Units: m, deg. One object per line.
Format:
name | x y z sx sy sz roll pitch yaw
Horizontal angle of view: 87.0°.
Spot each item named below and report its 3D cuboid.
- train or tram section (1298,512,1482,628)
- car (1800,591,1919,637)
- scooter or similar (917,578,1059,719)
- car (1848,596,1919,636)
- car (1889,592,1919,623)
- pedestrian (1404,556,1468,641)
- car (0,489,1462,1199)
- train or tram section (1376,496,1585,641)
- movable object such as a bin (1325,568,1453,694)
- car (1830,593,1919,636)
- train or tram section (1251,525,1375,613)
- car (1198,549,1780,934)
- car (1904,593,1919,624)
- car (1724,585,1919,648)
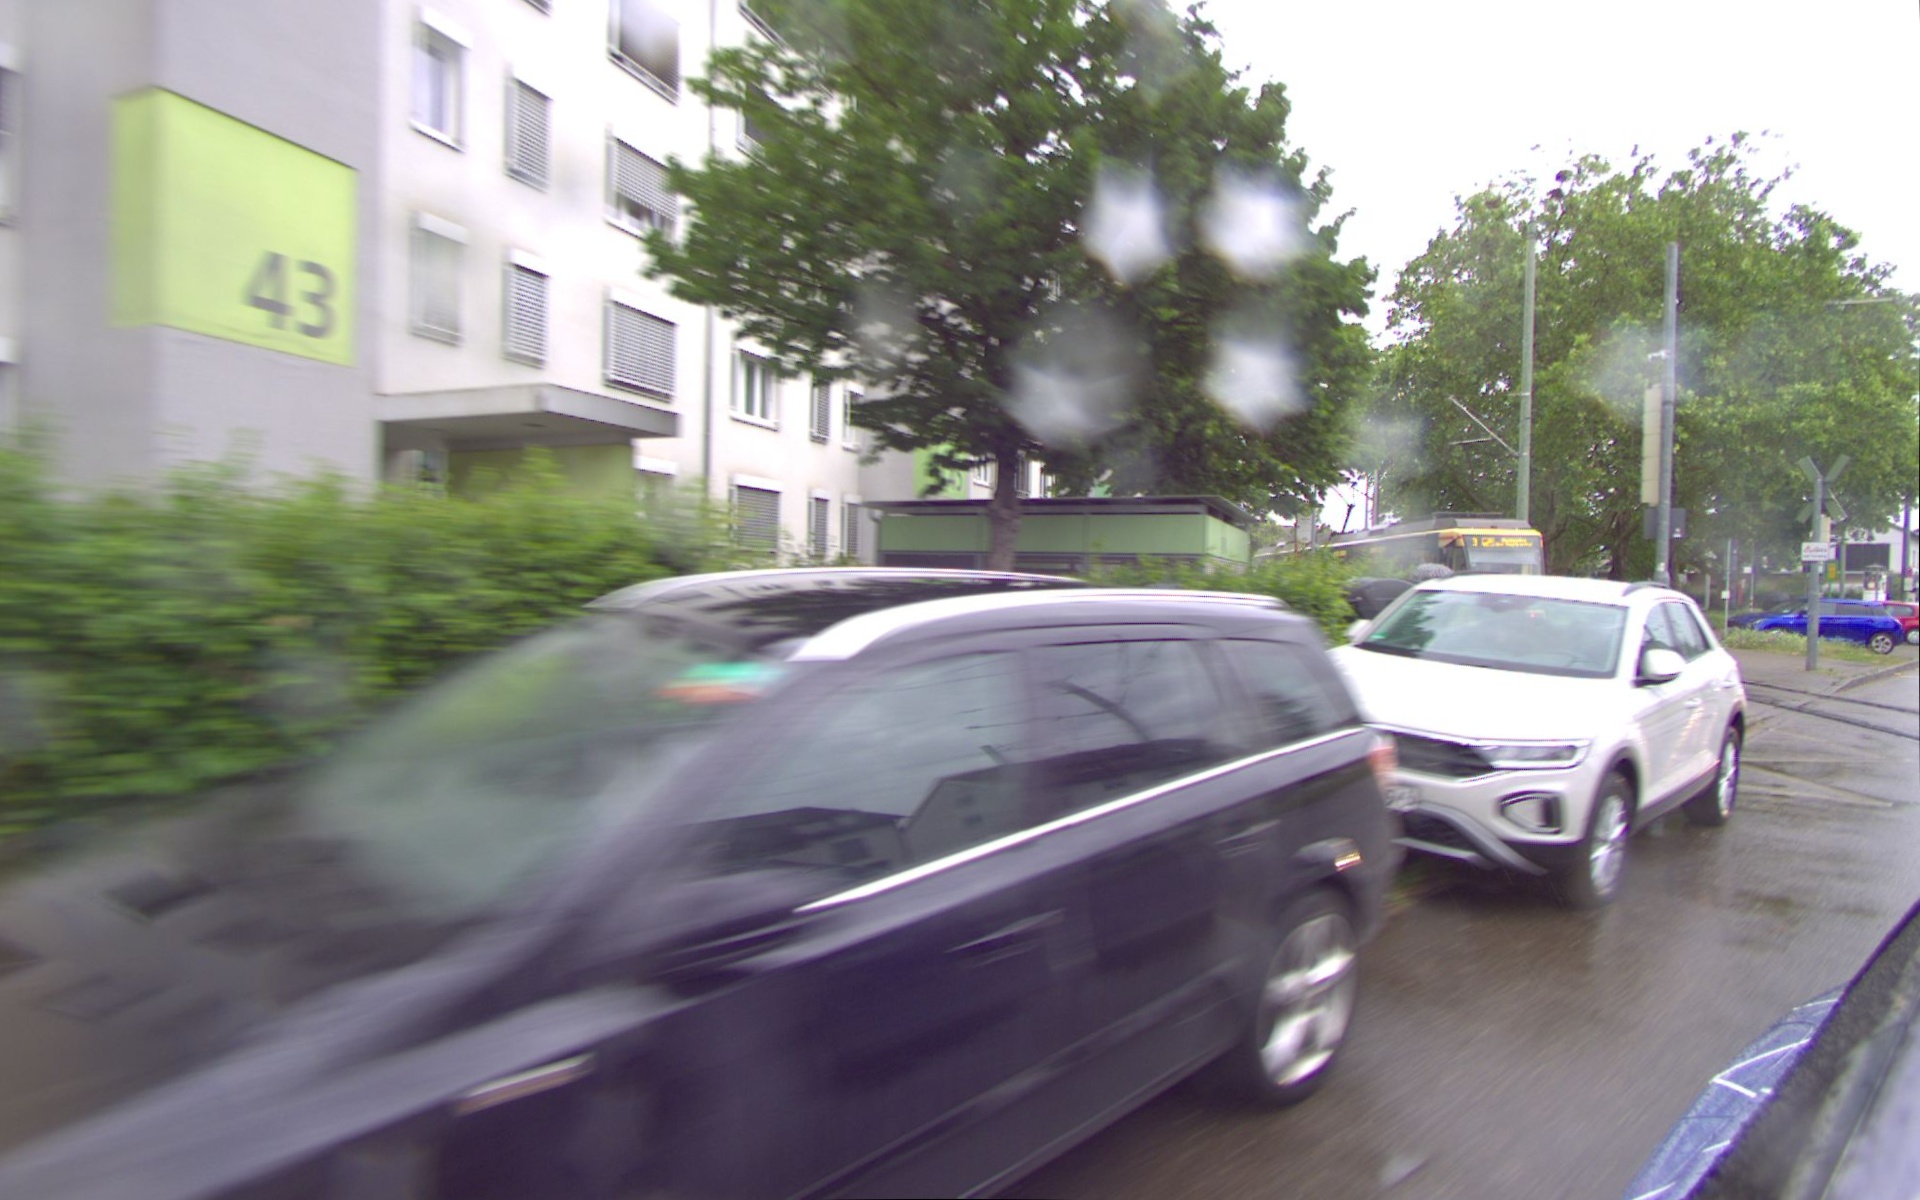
train or tram section | 14.437 -1.048 35.101 2.709 3.381 10.340 2 2 5
car | 32.675 0.477 36.302 3.537 1.477 1.607 2 2 23
scooter or similar | 0.278 0.442 9.742 1.303 1.277 0.474 2 1 7
car | 38.228 0.674 40.506 3.667 1.502 1.606 2 2 24
car | 47.345 0.399 48.584 3.667 1.433 1.606 2 2 24
pedestrian | 10.385 -0.045 22.102 0.849 1.796 1.019 1 1 0
car | -0.518 0.584 2.654 4.113 1.467 1.903 0 2 -42
train or tram section | 13.758 -0.857 27.429 2.709 3.381 6.393 2 2 5
movable object such as a bin | 5.350 0.345 12.755 1.134 1.458 1.472 2 2 10
car | 35.552 0.547 38.251 3.667 1.502 1.606 2 2 24
train or tram section | 15.390 -1.384 45.084 2.709 3.381 10.339 2 2 5
car | 3.469 0.551 6.284 4.041 1.594 1.903 0 2 -42
car | 49.944 0.479 50.541 3.667 1.541 1.606 2 2 24
car | 24.167 0.423 28.399 3.946 1.546 1.710 2 2 17
